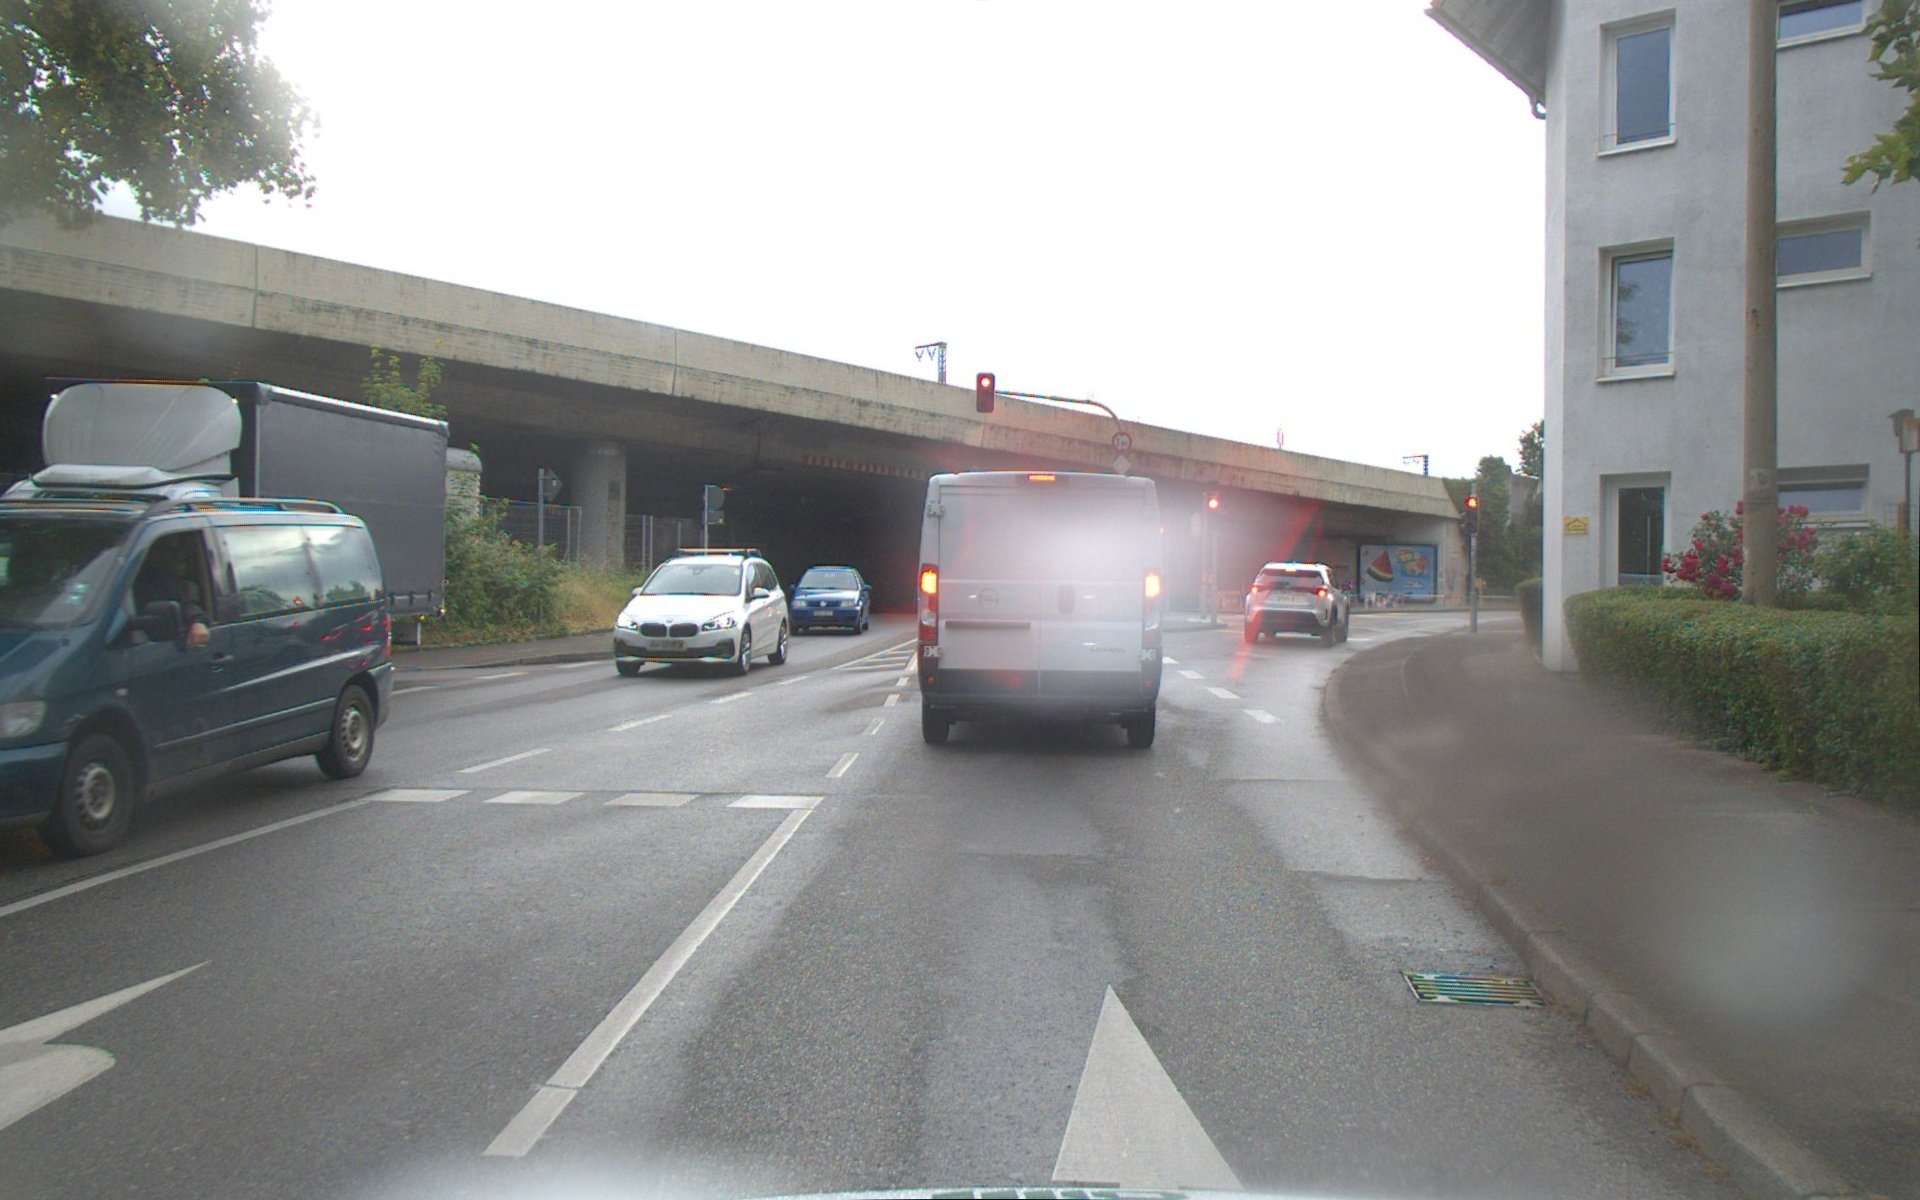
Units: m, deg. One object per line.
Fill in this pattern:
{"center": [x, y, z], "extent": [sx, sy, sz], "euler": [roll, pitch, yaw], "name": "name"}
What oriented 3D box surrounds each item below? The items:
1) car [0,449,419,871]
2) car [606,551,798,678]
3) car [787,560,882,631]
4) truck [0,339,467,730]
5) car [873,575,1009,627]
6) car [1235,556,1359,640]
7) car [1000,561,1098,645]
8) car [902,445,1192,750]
{"center": [-5.182, 0.246, 10.094], "extent": [1.916, 1.965, 4.686], "euler": [1, 1, 4], "name": "car"}
{"center": [-3.595, 0.122, 23.838], "extent": [1.793, 1.606, 4.337], "euler": [2, 2, 4], "name": "car"}
{"center": [-2.724, -0.132, 36.668], "extent": [1.564, 1.450, 3.699], "euler": [1, 1, 4], "name": "car"}
{"center": [-8.123, -0.605, 17.963], "extent": [2.555, 3.293, 7.781], "euler": [1, 0, 5], "name": "truck"}
{"center": [-0.622, 0.029, 53.152], "extent": [3.916, 1.581, 1.995], "euler": [1, 0, 33], "name": "car"}
{"center": [6.869, -0.034, 33.409], "extent": [1.952, 1.576, 4.001], "euler": [1, 0, 19], "name": "car"}
{"center": [2.065, 0.065, 37.391], "extent": [1.951, 1.759, 4.003], "euler": [1, 0, 6], "name": "car"}
{"center": [0.840, -0.079, 15.727], "extent": [2.257, 2.384, 5.285], "euler": [1, 1, 3], "name": "car"}
